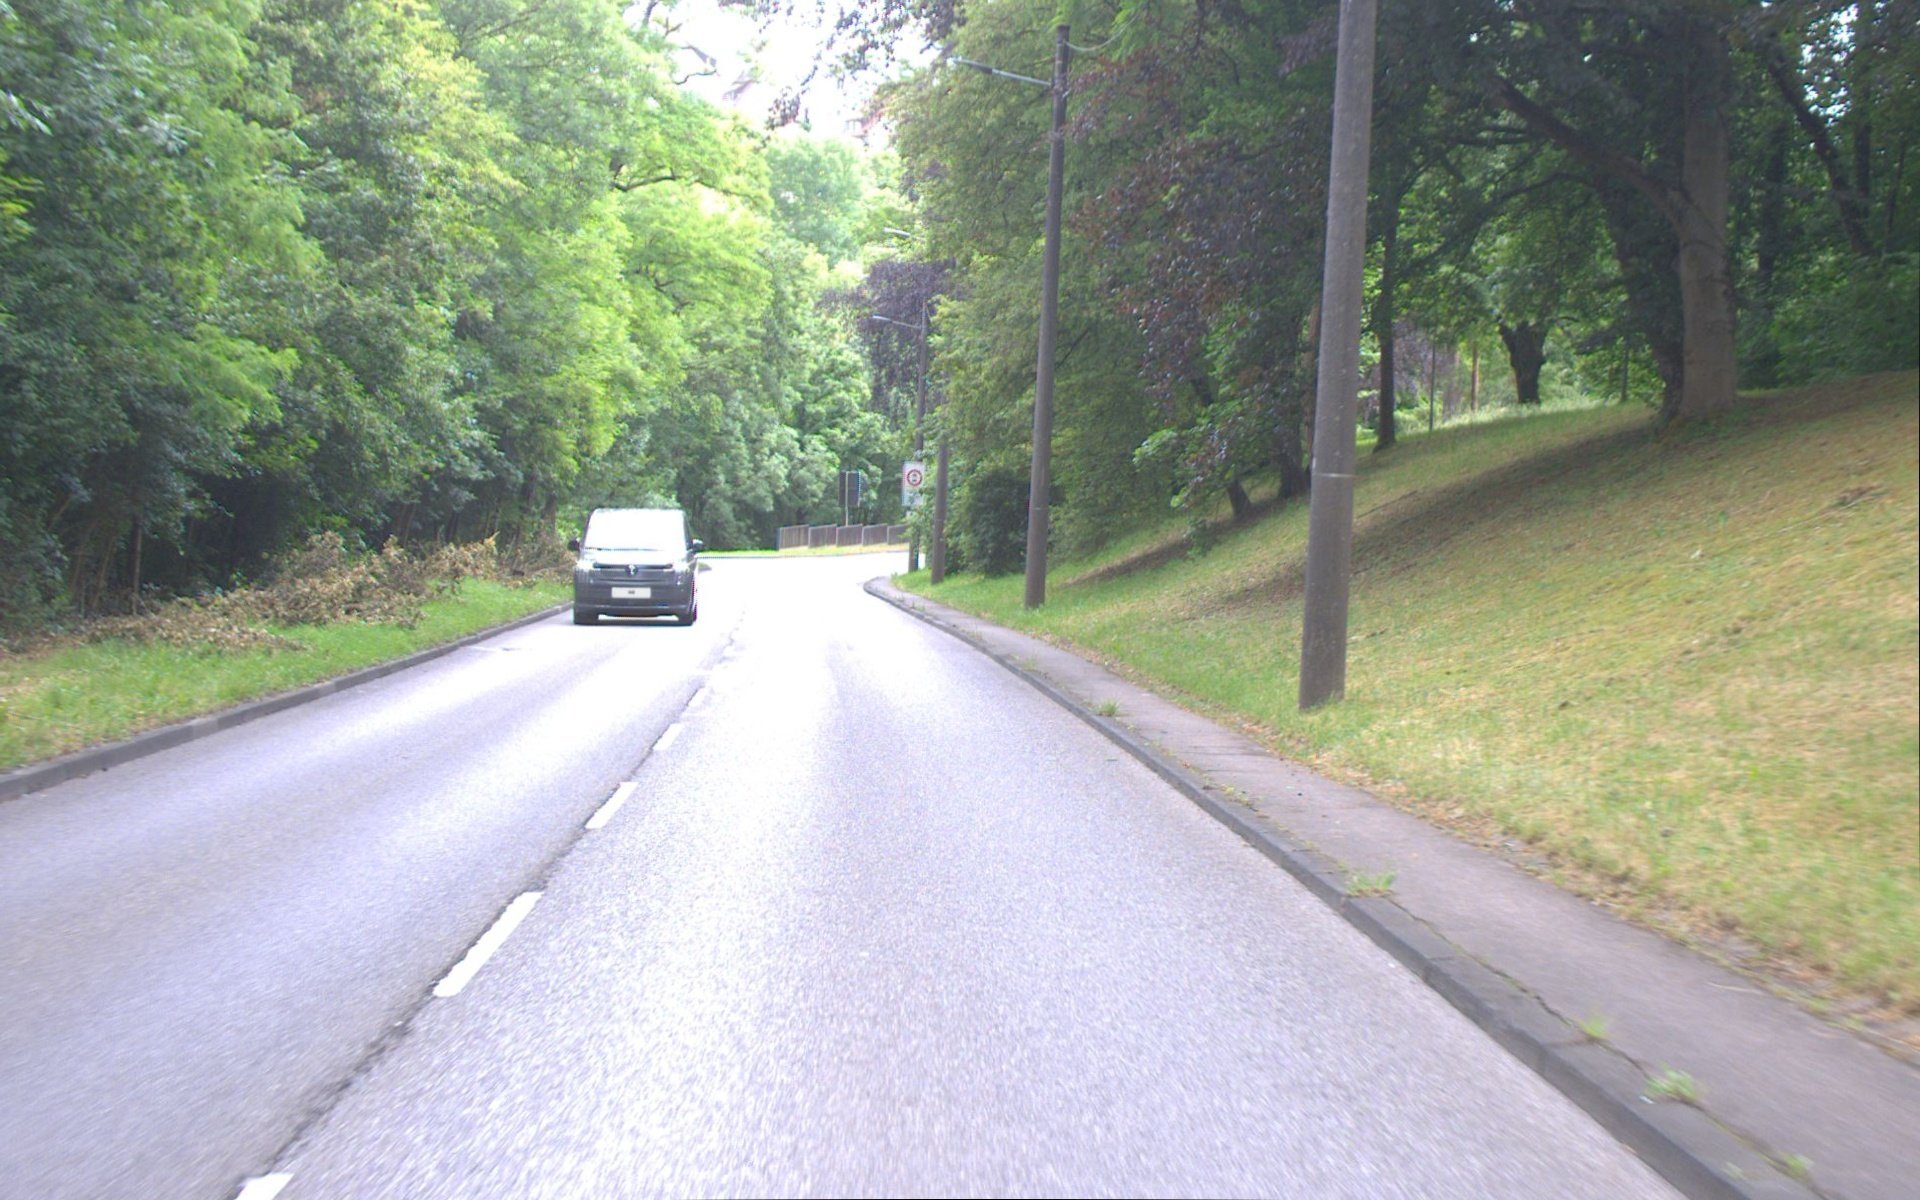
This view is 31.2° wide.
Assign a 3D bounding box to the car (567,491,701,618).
[{"bbox_3d":[-5.276,-0.737,56.135,1.993,1.941,4.946,2,1,-4],"label":"car"}]
